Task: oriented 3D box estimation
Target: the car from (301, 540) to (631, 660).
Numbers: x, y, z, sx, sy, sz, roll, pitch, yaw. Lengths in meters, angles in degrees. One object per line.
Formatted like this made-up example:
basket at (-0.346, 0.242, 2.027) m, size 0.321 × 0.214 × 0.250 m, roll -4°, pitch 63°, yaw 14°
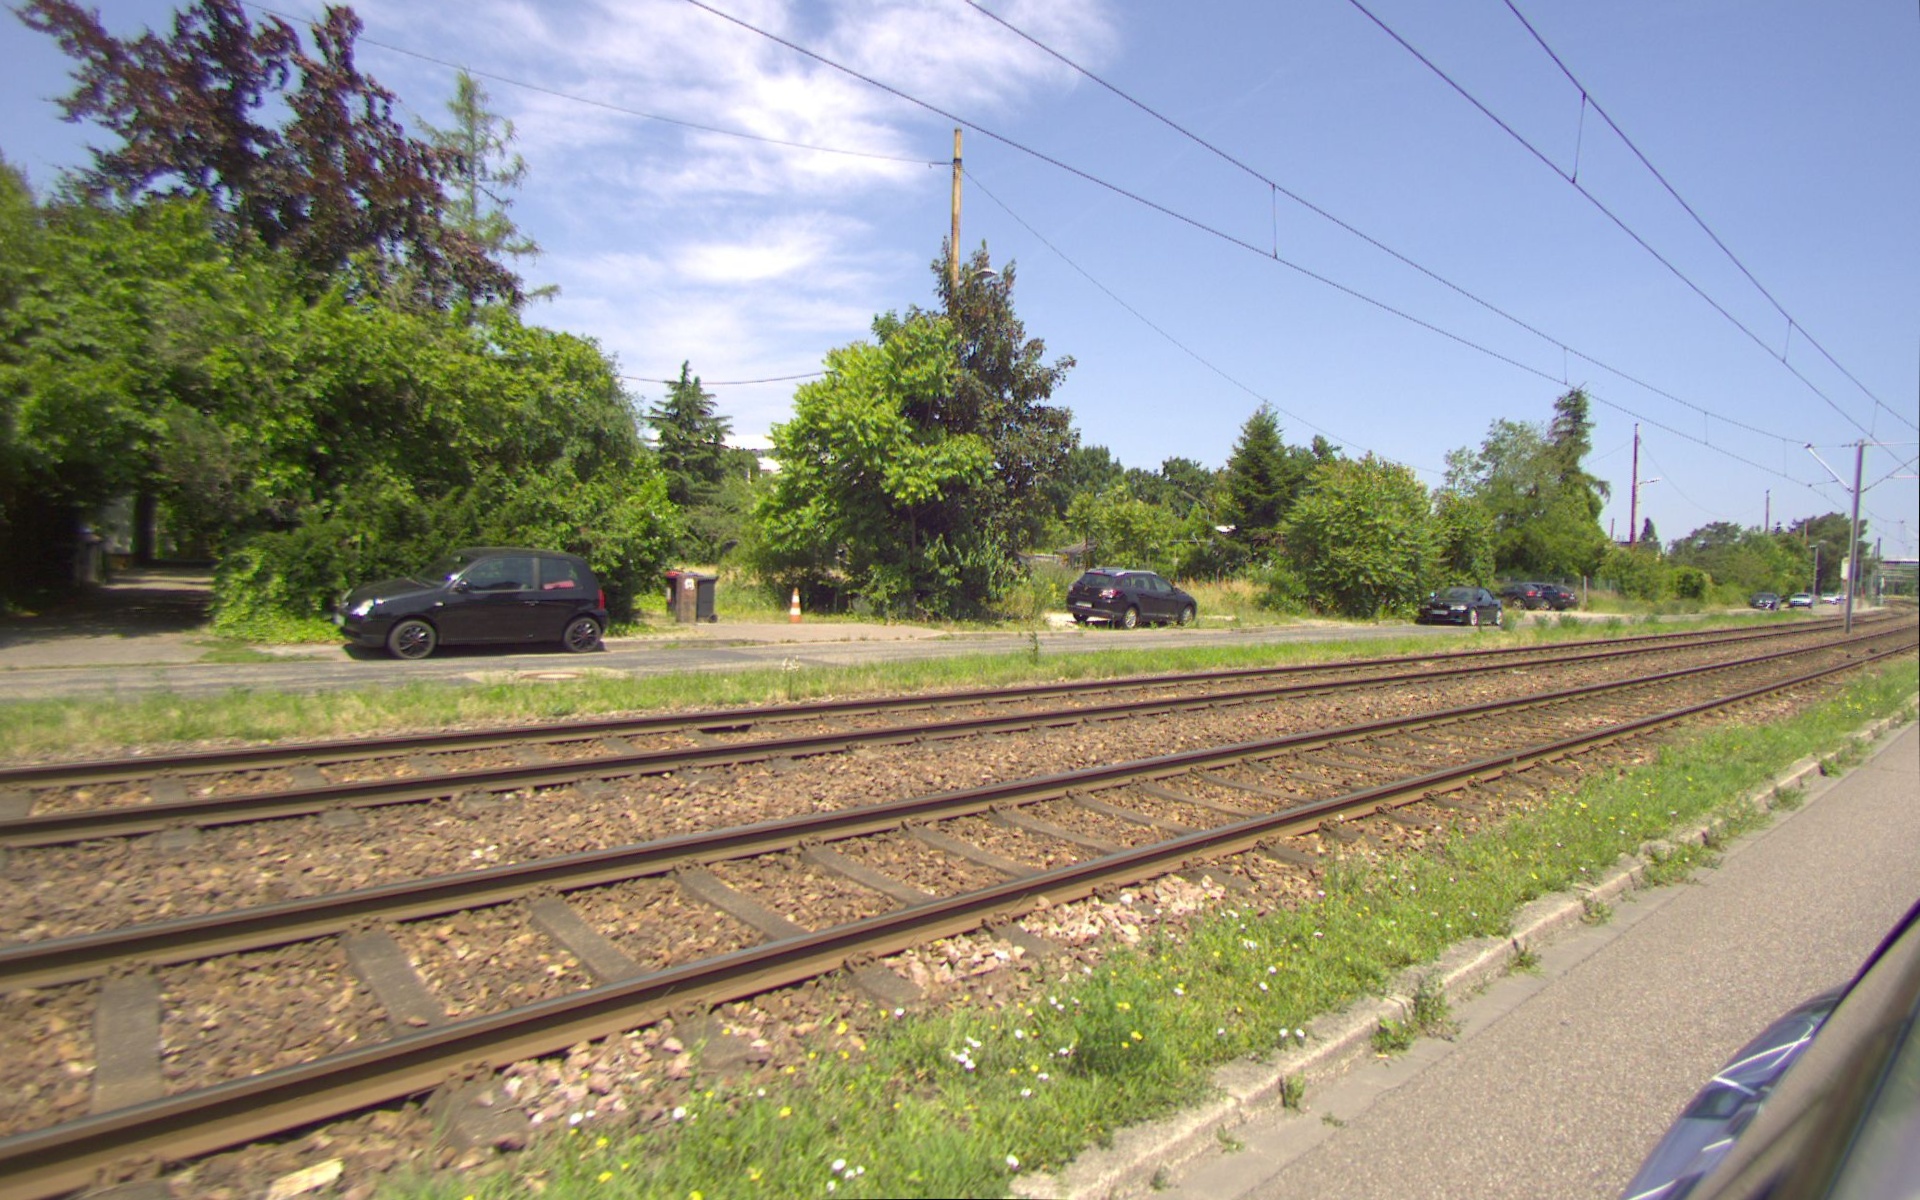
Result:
car at (-7.039, -0.049, 14.597) m, size 3.930 × 1.488 × 1.918 m, roll 0°, pitch 2°, yaw -41°

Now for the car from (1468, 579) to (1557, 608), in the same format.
car at (29.604, -0.356, 54.301) m, size 1.866 × 1.436 × 3.734 m, roll 0°, pitch 2°, yaw -41°

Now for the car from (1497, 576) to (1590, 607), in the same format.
car at (31.940, -0.502, 55.489) m, size 1.863 × 1.536 × 4.000 m, roll 0°, pitch 2°, yaw -36°

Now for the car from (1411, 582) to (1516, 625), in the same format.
car at (17.545, 0.084, 35.196) m, size 4.440 × 1.346 × 1.863 m, roll 0°, pitch 2°, yaw -44°

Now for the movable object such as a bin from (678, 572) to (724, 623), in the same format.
movable object such as a bin at (-5.074, -0.056, 19.842) m, size 0.610 × 0.949 × 0.725 m, roll 0°, pitch 2°, yaw -41°

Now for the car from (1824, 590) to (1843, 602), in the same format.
car at (117.589, -0.597, 136.183) m, size 1.713 × 1.507 × 3.938 m, roll 3°, pitch 2°, yaw 43°

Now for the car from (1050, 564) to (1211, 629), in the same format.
car at (4.623, -0.130, 27.087) m, size 4.480 × 1.580 × 1.937 m, roll 0°, pitch 2°, yaw -44°

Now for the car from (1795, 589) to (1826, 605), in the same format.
car at (80.361, -0.331, 95.610) m, size 1.940 × 1.439 × 3.936 m, roll 3°, pitch 2°, yaw 45°

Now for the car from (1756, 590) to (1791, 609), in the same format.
car at (67.005, -0.047, 83.340) m, size 4.793 × 1.439 × 1.621 m, roll -1°, pitch 2°, yaw -44°
